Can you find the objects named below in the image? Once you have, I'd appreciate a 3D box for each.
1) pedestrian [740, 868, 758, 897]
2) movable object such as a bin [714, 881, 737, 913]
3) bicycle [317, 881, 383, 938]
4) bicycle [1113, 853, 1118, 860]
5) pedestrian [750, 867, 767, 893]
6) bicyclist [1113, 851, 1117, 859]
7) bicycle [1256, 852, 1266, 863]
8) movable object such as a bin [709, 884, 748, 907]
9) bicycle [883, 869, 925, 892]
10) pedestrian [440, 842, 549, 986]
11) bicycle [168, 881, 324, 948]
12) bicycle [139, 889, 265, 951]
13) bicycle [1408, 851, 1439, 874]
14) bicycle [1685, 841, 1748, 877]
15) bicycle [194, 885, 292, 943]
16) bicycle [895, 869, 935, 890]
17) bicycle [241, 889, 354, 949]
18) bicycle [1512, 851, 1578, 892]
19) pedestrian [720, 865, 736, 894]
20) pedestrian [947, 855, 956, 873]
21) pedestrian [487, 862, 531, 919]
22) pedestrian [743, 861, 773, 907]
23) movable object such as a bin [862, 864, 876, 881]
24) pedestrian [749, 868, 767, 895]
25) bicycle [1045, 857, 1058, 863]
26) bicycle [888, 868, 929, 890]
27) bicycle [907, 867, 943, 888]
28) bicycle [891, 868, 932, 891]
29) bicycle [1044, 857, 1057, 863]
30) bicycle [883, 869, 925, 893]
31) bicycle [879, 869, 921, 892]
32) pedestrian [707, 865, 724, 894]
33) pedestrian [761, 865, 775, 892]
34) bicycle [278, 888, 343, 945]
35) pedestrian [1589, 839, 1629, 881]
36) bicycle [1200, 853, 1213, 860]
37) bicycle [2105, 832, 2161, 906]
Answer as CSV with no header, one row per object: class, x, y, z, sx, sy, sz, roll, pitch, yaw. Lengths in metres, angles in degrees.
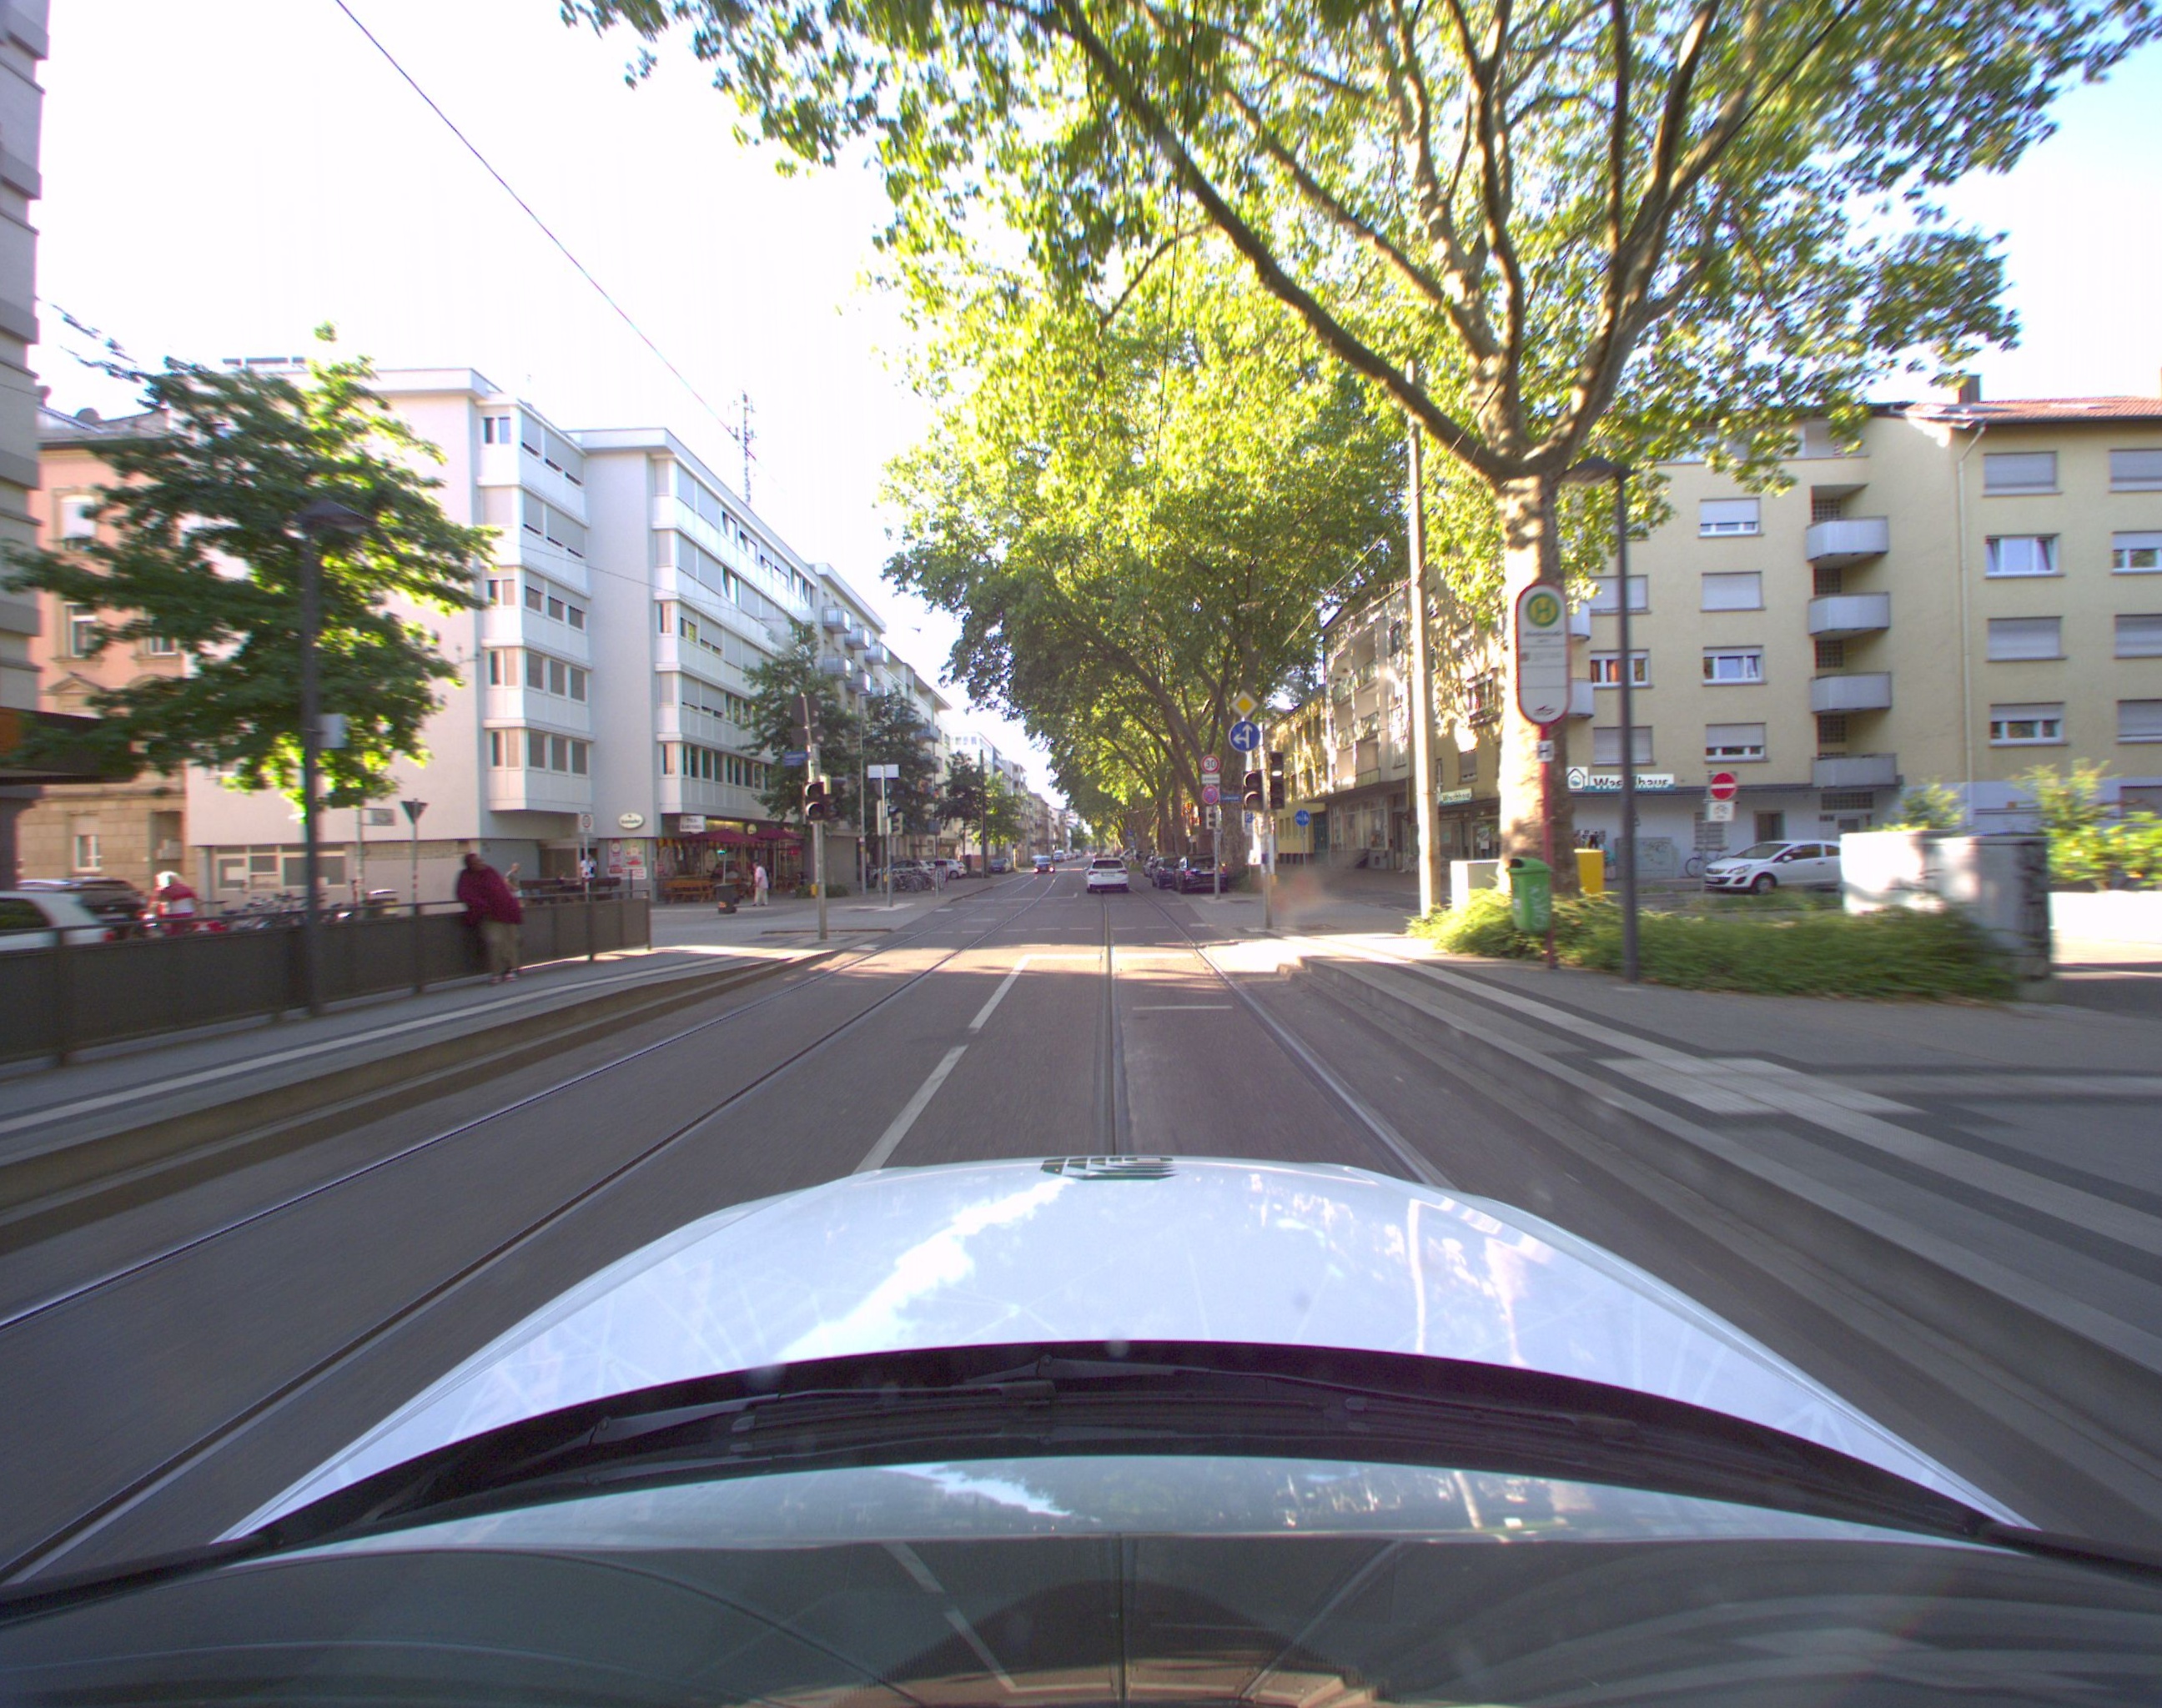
pedestrian,-14.494,1.244,35.578,0.509,1.198,0.564,-2,0,3
movable object such as a bin,-10.950,1.326,25.081,0.539,0.932,0.647,-2,0,-15
bicycle,-15.843,1.180,17.640,1.766,1.156,0.576,-2,0,32
bicycle,5.878,0.446,139.004,0.647,1.071,1.583,-2,0,0
pedestrian,-15.520,1.244,39.204,0.560,1.198,0.624,-2,0,0
bicyclist,5.863,0.131,139.018,0.647,1.344,0.934,-2,0,0
bicycle,18.095,0.362,81.991,0.580,1.104,1.923,-3,0,1
movable object such as a bin,-12.094,1.417,27.982,1.197,0.757,0.661,0,-1,-20
bicycle,-8.207,1.221,37.876,1.825,1.007,0.657,-1,-1,-4
pedestrian,-6.746,0.665,9.396,0.651,1.585,0.773,-2,0,2
bicycle,-16.168,1.152,15.829,2.038,1.156,0.568,-2,0,-21
bicycle,-17.886,1.334,16.601,1.781,1.156,0.571,-2,0,-6
bicycle,15.890,0.389,37.866,0.569,0.997,1.778,-3,0,-3
bicycle,22.370,0.166,28.677,1.686,1.156,0.602,-3,0,1
bicycle,-17.806,1.270,17.316,1.772,1.156,0.574,-2,0,12
bicycle,-8.084,1.222,39.657,1.825,1.007,0.657,-1,-1,-4
bicycle,-16.054,1.324,16.708,1.849,1.156,0.573,-2,0,5
bicycle,14.414,0.529,25.301,1.798,1.156,0.741,-3,0,-21
pedestrian,-14.681,1.061,33.893,0.512,1.198,0.561,-2,0,-15
pedestrian,-11.831,0.910,74.290,0.661,1.691,0.748,-1,0,0
pedestrian,-17.294,1.090,24.638,0.756,1.671,0.768,-2,0,-4
pedestrian,-11.208,1.022,28.302,0.723,1.556,0.768,-2,0,-4
movable object such as a bin,-13.778,1.190,52.901,0.675,1.055,0.622,-2,0,3
pedestrian,-14.654,1.251,36.962,0.604,1.198,0.685,-2,0,-34
bicycle,-5.911,1.152,163.246,2.520,1.172,0.718,0,-2,-5
bicycle,-8.156,1.193,38.522,1.825,1.007,0.657,-1,-1,-4
bicycle,-7.868,1.181,41.004,1.687,1.007,0.657,-1,-1,-4
bicycle,-8.084,1.227,38.841,1.825,1.064,0.657,-1,-1,-4
bicycle,-5.987,1.147,159.467,2.520,1.172,0.718,0,-2,-5
bicycle,-7.806,1.182,35.944,1.687,1.007,0.657,-1,-1,-4
bicycle,-8.311,1.223,37.437,1.825,1.007,0.657,-1,-1,-4
pedestrian,-15.374,1.081,34.255,0.566,1.198,0.508,-2,0,-34
pedestrian,-14.546,1.139,37.828,0.514,1.198,0.558,-2,0,-28
bicycle,-16.668,1.324,17.615,1.766,1.156,0.576,-2,0,32
pedestrian,18.303,0.213,28.222,0.838,1.415,0.767,-2,0,-7
bicycle,18.548,0.357,120.695,1.787,1.041,0.617,-3,0,-3
bicycle,17.250,0.230,12.634,0.597,1.156,1.700,-3,0,5
